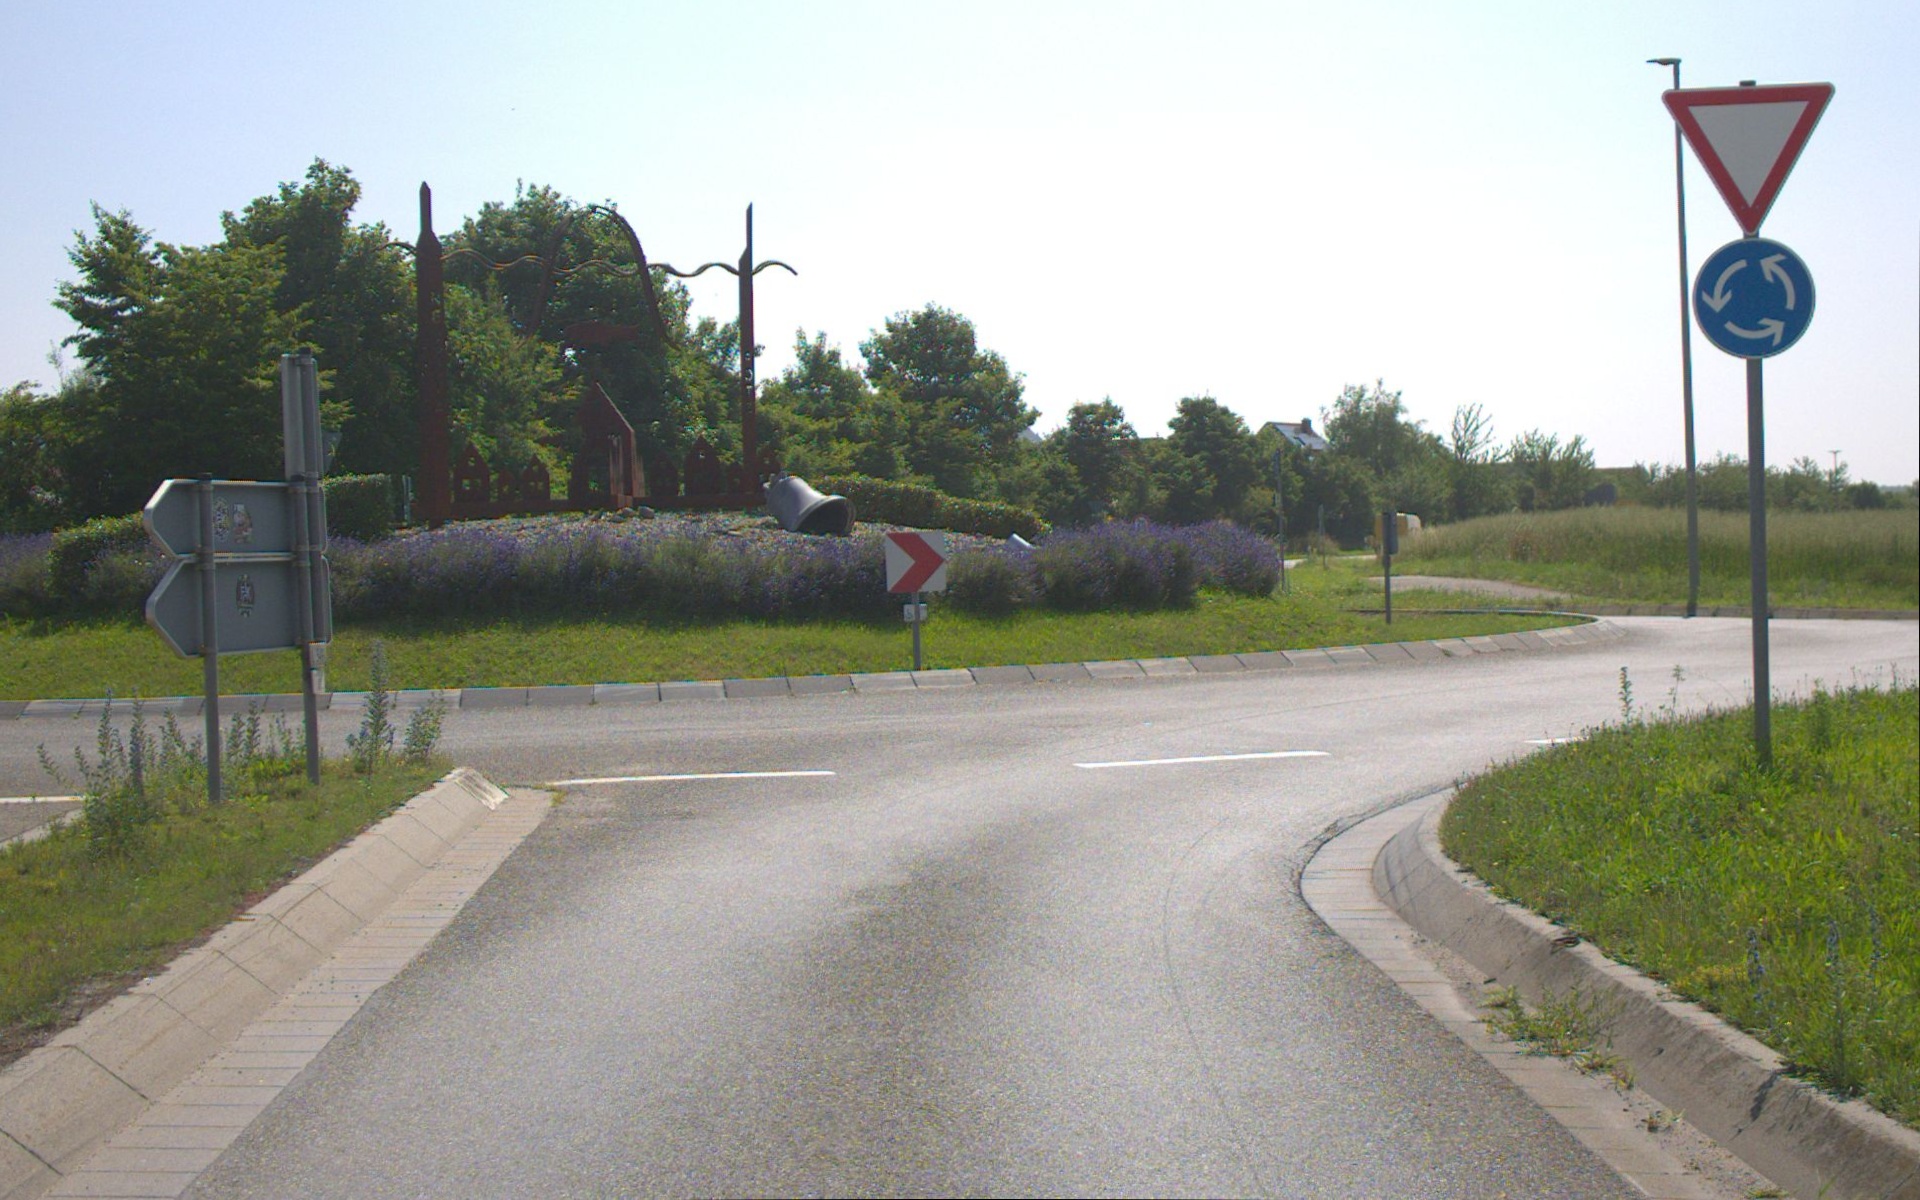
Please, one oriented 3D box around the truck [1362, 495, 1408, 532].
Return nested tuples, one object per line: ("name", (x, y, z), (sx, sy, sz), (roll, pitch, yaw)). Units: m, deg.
("truck", (23.912, -4.857, 193.277), (1.995, 2.006, 3.998), (-1, 2, 15))
